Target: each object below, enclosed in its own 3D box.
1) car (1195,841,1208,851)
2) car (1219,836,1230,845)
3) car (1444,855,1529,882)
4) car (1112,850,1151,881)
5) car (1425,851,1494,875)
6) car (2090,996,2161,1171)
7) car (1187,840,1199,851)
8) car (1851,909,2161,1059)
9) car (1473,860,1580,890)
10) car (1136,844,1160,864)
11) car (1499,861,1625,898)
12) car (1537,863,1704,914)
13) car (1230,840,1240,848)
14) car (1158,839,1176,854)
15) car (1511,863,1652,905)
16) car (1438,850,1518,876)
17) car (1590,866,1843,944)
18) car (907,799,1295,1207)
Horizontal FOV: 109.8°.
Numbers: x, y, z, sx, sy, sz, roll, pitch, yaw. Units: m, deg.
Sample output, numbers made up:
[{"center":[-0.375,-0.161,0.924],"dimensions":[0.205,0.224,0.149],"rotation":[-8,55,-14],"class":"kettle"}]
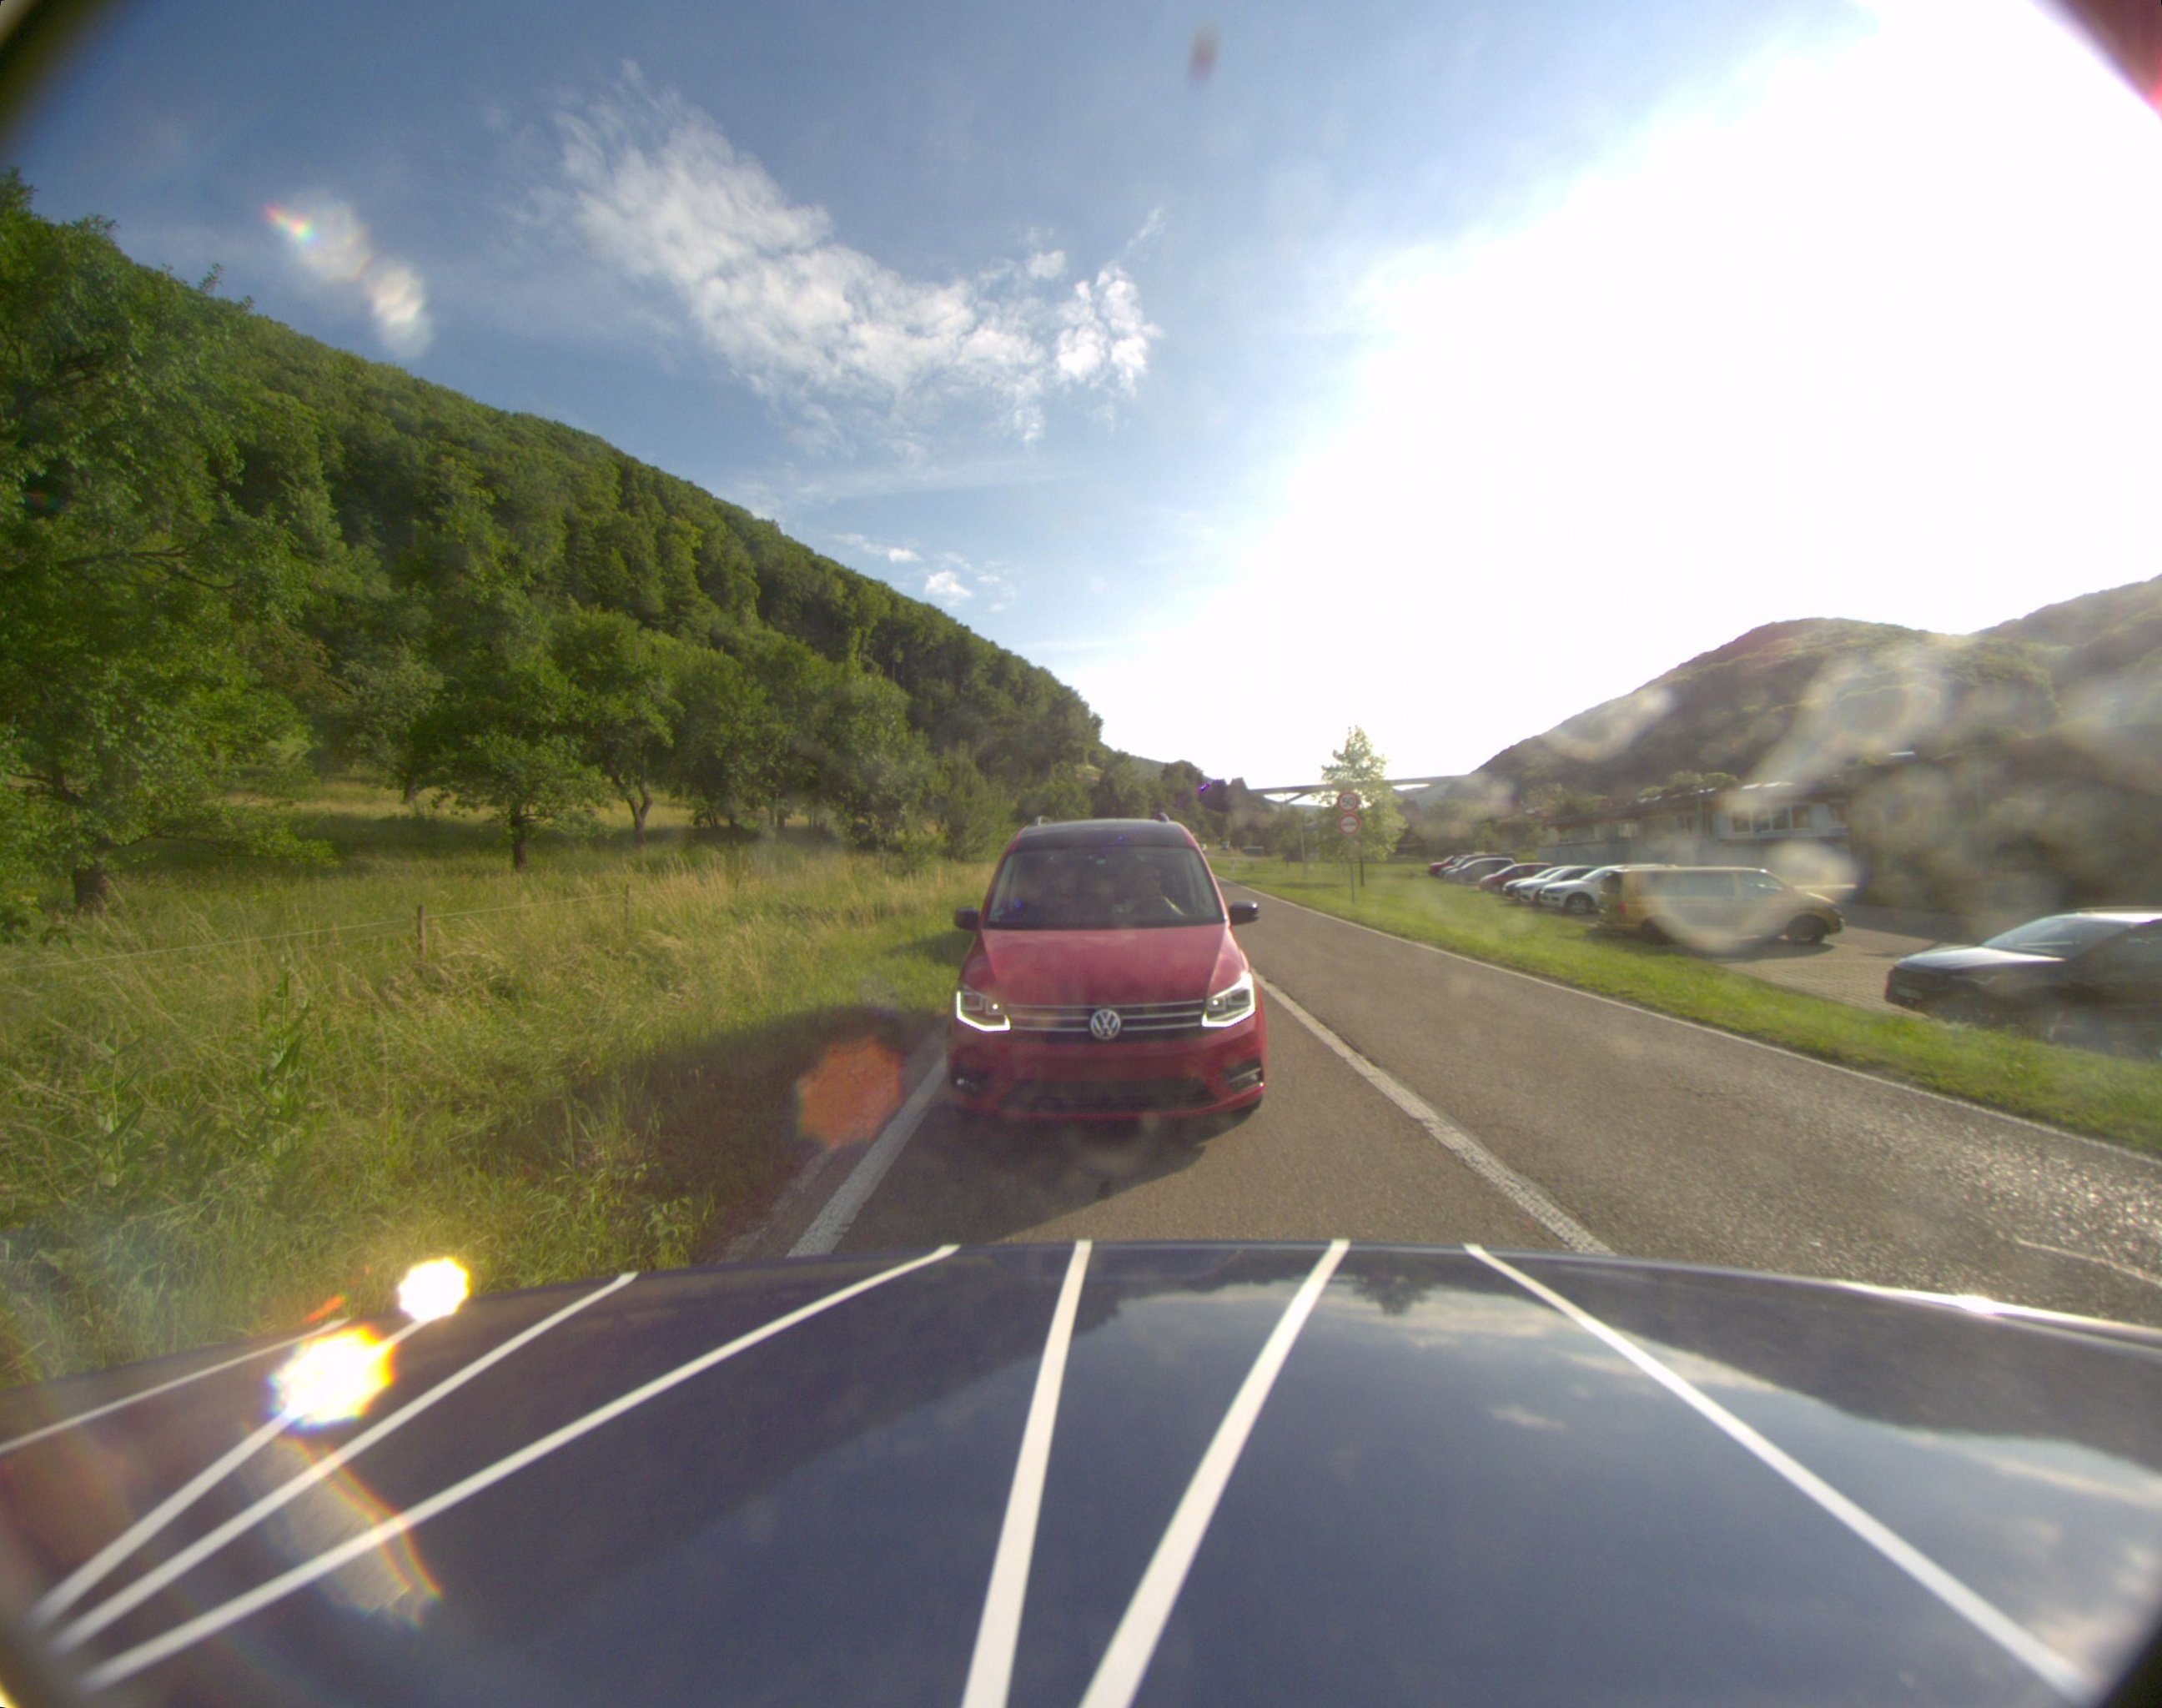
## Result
[{"center":[21.787,-1.516,137.058],"dimensions":[1.996,1.707,4.004],"rotation":[-2,0,14],"class":"car"},{"center":[31.303,-2.933,165.666],"dimensions":[1.908,1.893,4.005],"rotation":[-2,1,19],"class":"car"},{"center":[25.840,0.903,48.585],"dimensions":[4.437,1.573,2.003],"rotation":[-2,0,18],"class":"car"},{"center":[2.581,0.570,39.377],"dimensions":[1.798,1.464,4.284],"rotation":[-2,0,1],"class":"car"},{"center":[28.932,0.685,58.217],"dimensions":[4.437,1.710,2.003],"rotation":[-1,0,18],"class":"car"},{"center":[12.053,2.136,6.044],"dimensions":[4.645,1.488,1.915],"rotation":[-1,0,15],"class":"car"},{"center":[18.217,-1.327,123.601],"dimensions":[1.677,1.637,3.350],"rotation":[-2,-1,13],"class":"car"},{"center":[13.536,1.656,10.055],"dimensions":[4.289,1.628,1.915],"rotation":[-3,0,15],"class":"car"},{"center":[22.732,1.078,38.941],"dimensions":[4.437,1.443,2.003],"rotation":[-1,0,20],"class":"car"},{"center":[6.029,-0.019,68.058],"dimensions":[1.912,1.675,4.002],"rotation":[-2,0,7],"class":"car"},{"center":[21.436,1.121,34.066],"dimensions":[4.437,1.573,2.003],"rotation":[-1,0,18],"class":"car"},{"center":[19.347,1.203,27.516],"dimensions":[4.545,1.691,2.003],"rotation":[-1,0,20],"class":"car"},{"center":[35.885,-2.331,177.356],"dimensions":[1.909,1.893,4.004],"rotation":[-2,1,16],"class":"car"},{"center":[10.625,-0.951,93.488],"dimensions":[1.797,1.725,4.287],"rotation":[-2,0,11],"class":"car"},{"center":[20.224,1.186,30.913],"dimensions":[4.437,1.577,2.003],"rotation":[-1,0,20],"class":"car"},{"center":[27.640,0.618,53.044],"dimensions":[4.665,1.753,2.003],"rotation":[-1,0,18],"class":"car"},{"center":[16.269,1.269,19.795],"dimensions":[4.653,1.802,2.003],"rotation":[-1,1,20],"class":"car"},{"center":[0.122,0.700,5.707],"dimensions":[1.747,1.849,4.348],"rotation":[-2,0,1],"class":"car"}]
